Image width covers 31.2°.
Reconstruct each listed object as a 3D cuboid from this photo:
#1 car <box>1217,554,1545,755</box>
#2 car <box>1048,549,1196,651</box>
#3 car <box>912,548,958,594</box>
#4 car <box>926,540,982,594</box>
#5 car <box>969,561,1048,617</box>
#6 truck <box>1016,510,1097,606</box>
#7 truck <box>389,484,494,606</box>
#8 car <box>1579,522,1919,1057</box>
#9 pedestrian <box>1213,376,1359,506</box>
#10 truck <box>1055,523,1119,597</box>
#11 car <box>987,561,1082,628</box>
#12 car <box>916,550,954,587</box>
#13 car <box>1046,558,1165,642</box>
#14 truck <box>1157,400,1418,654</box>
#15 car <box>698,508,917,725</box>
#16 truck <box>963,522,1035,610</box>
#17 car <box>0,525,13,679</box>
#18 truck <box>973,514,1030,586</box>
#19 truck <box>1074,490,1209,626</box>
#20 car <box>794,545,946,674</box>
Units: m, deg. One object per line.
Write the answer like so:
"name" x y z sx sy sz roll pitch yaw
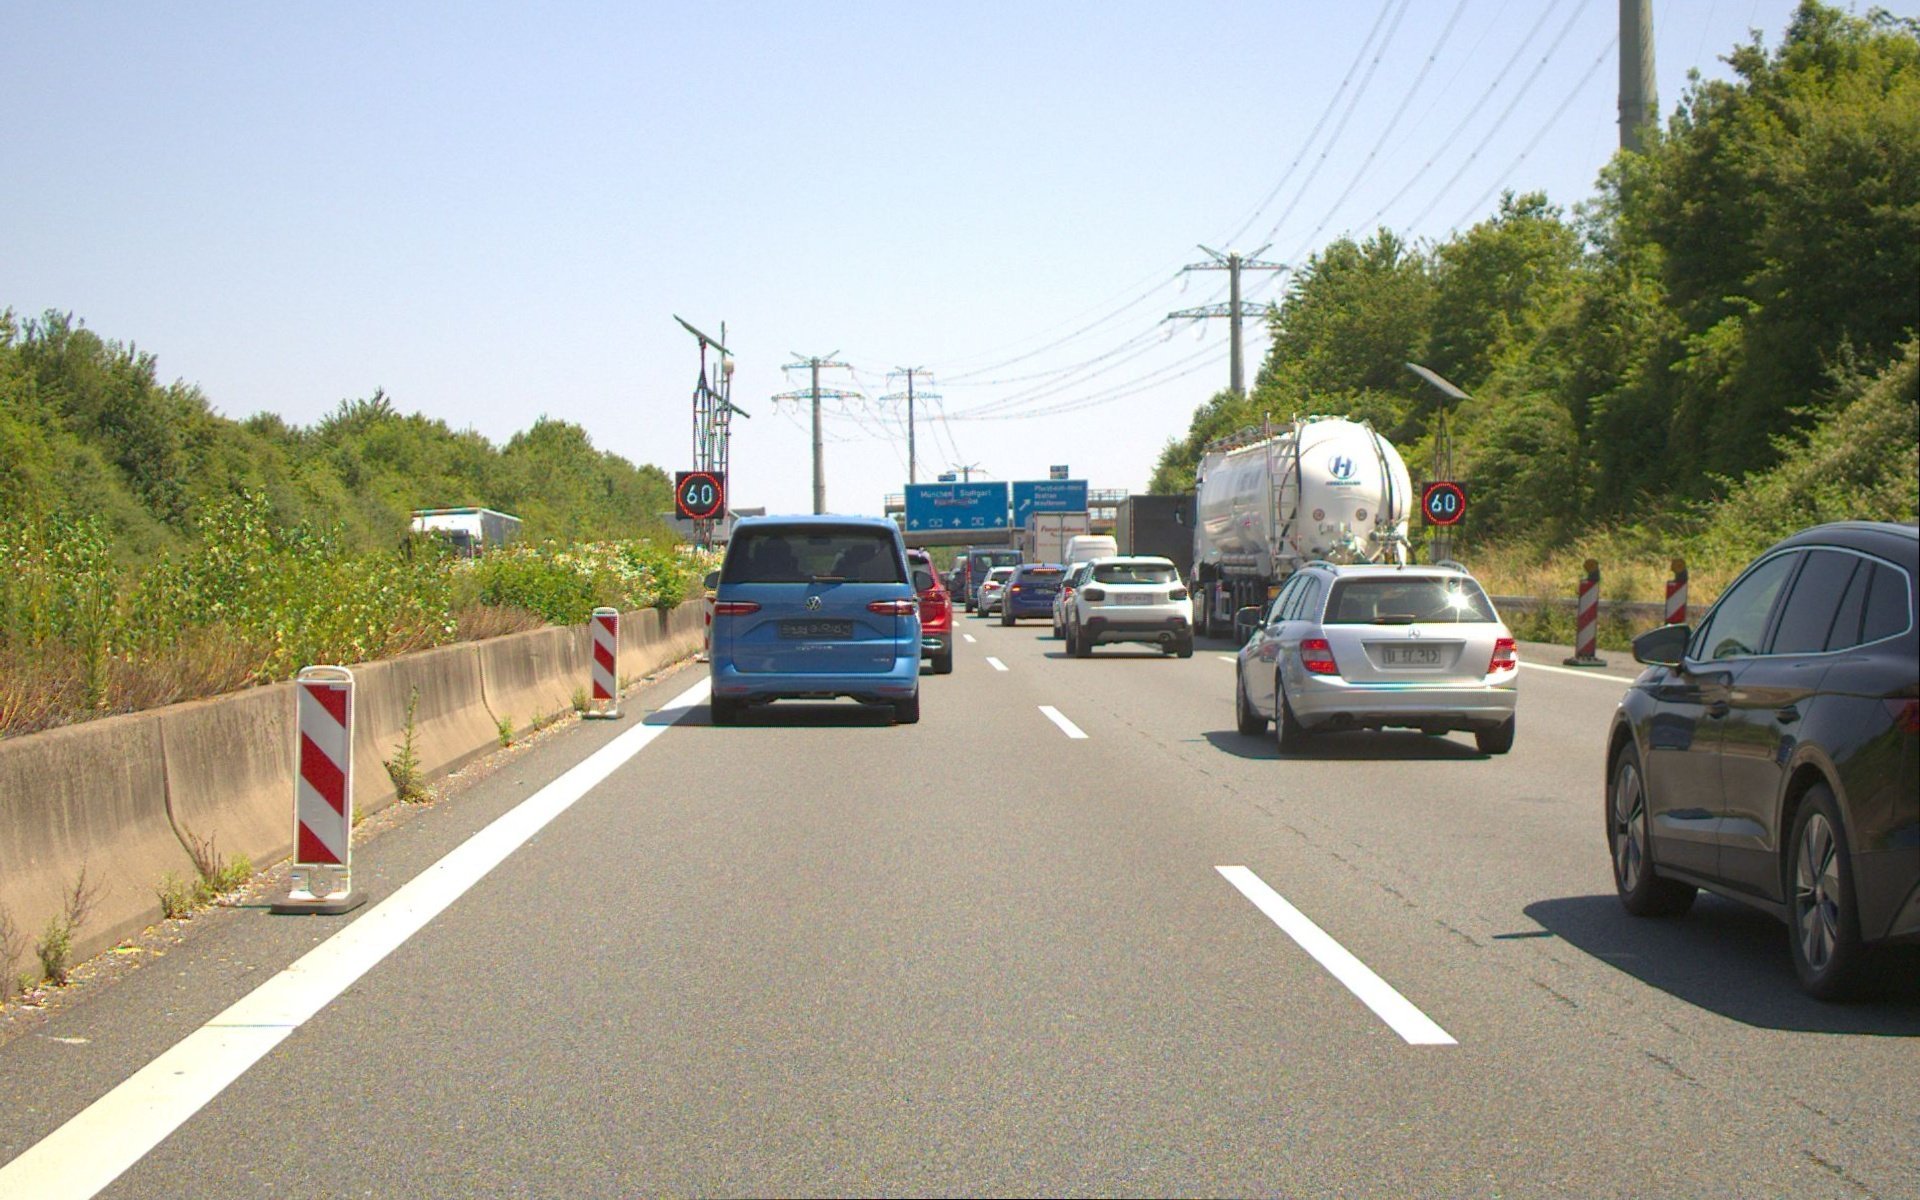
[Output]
"car" 3.216 0.371 27.082 1.821 1.432 4.384 1 1 -3
"car" 2.470 -0.021 53.286 1.908 1.503 3.922 1 1 -3
"car" -1.131 -1.320 154.363 1.993 2.007 4.000 1 1 -1
"car" -0.254 -1.278 131.829 1.993 2.007 4.000 1 1 -2
"car" 1.322 -0.324 96.205 1.908 1.511 4.384 1 1 -3
"truck" 4.438 -1.974 160.803 2.937 4.276 12.553 1 1 -2
"truck" -18.763 -1.987 124.768 2.751 4.152 6.411 -4 1 -1
"car" 3.649 0.538 12.566 1.828 1.609 4.431 0 1 -2
"pedestrian" 5.413 -2.623 57.523 1.993 2.007 4.000 1 1 -1
"truck" 4.811 -1.520 130.798 1.993 2.714 5.680 1 1 -2
"car" 1.736 -0.144 81.075 1.908 1.511 4.384 1 1 -3
"car" -1.397 -1.781 191.996 1.993 2.007 4.000 1 1 -2
"car" 2.791 -0.025 66.820 1.908 1.564 4.384 1 1 -3
"truck" 5.755 -1.268 63.727 2.644 4.058 16.442 1 1 -2
"car" -1.498 0.123 32.233 1.870 1.873 4.384 1 1 -5
"truck" 1.206 -1.077 109.362 1.993 2.714 5.680 1 1 -2
"car" -13.931 0.077 44.822 1.993 2.089 4.607 -1 1 -2
"truck" 2.527 -3.068 213.577 2.937 4.276 12.553 1 1 -2
"truck" 4.971 -1.171 96.493 2.644 3.526 12.553 1 1 -2
"car" -1.217 0.094 45.507 1.908 1.625 4.384 0 1 -2
